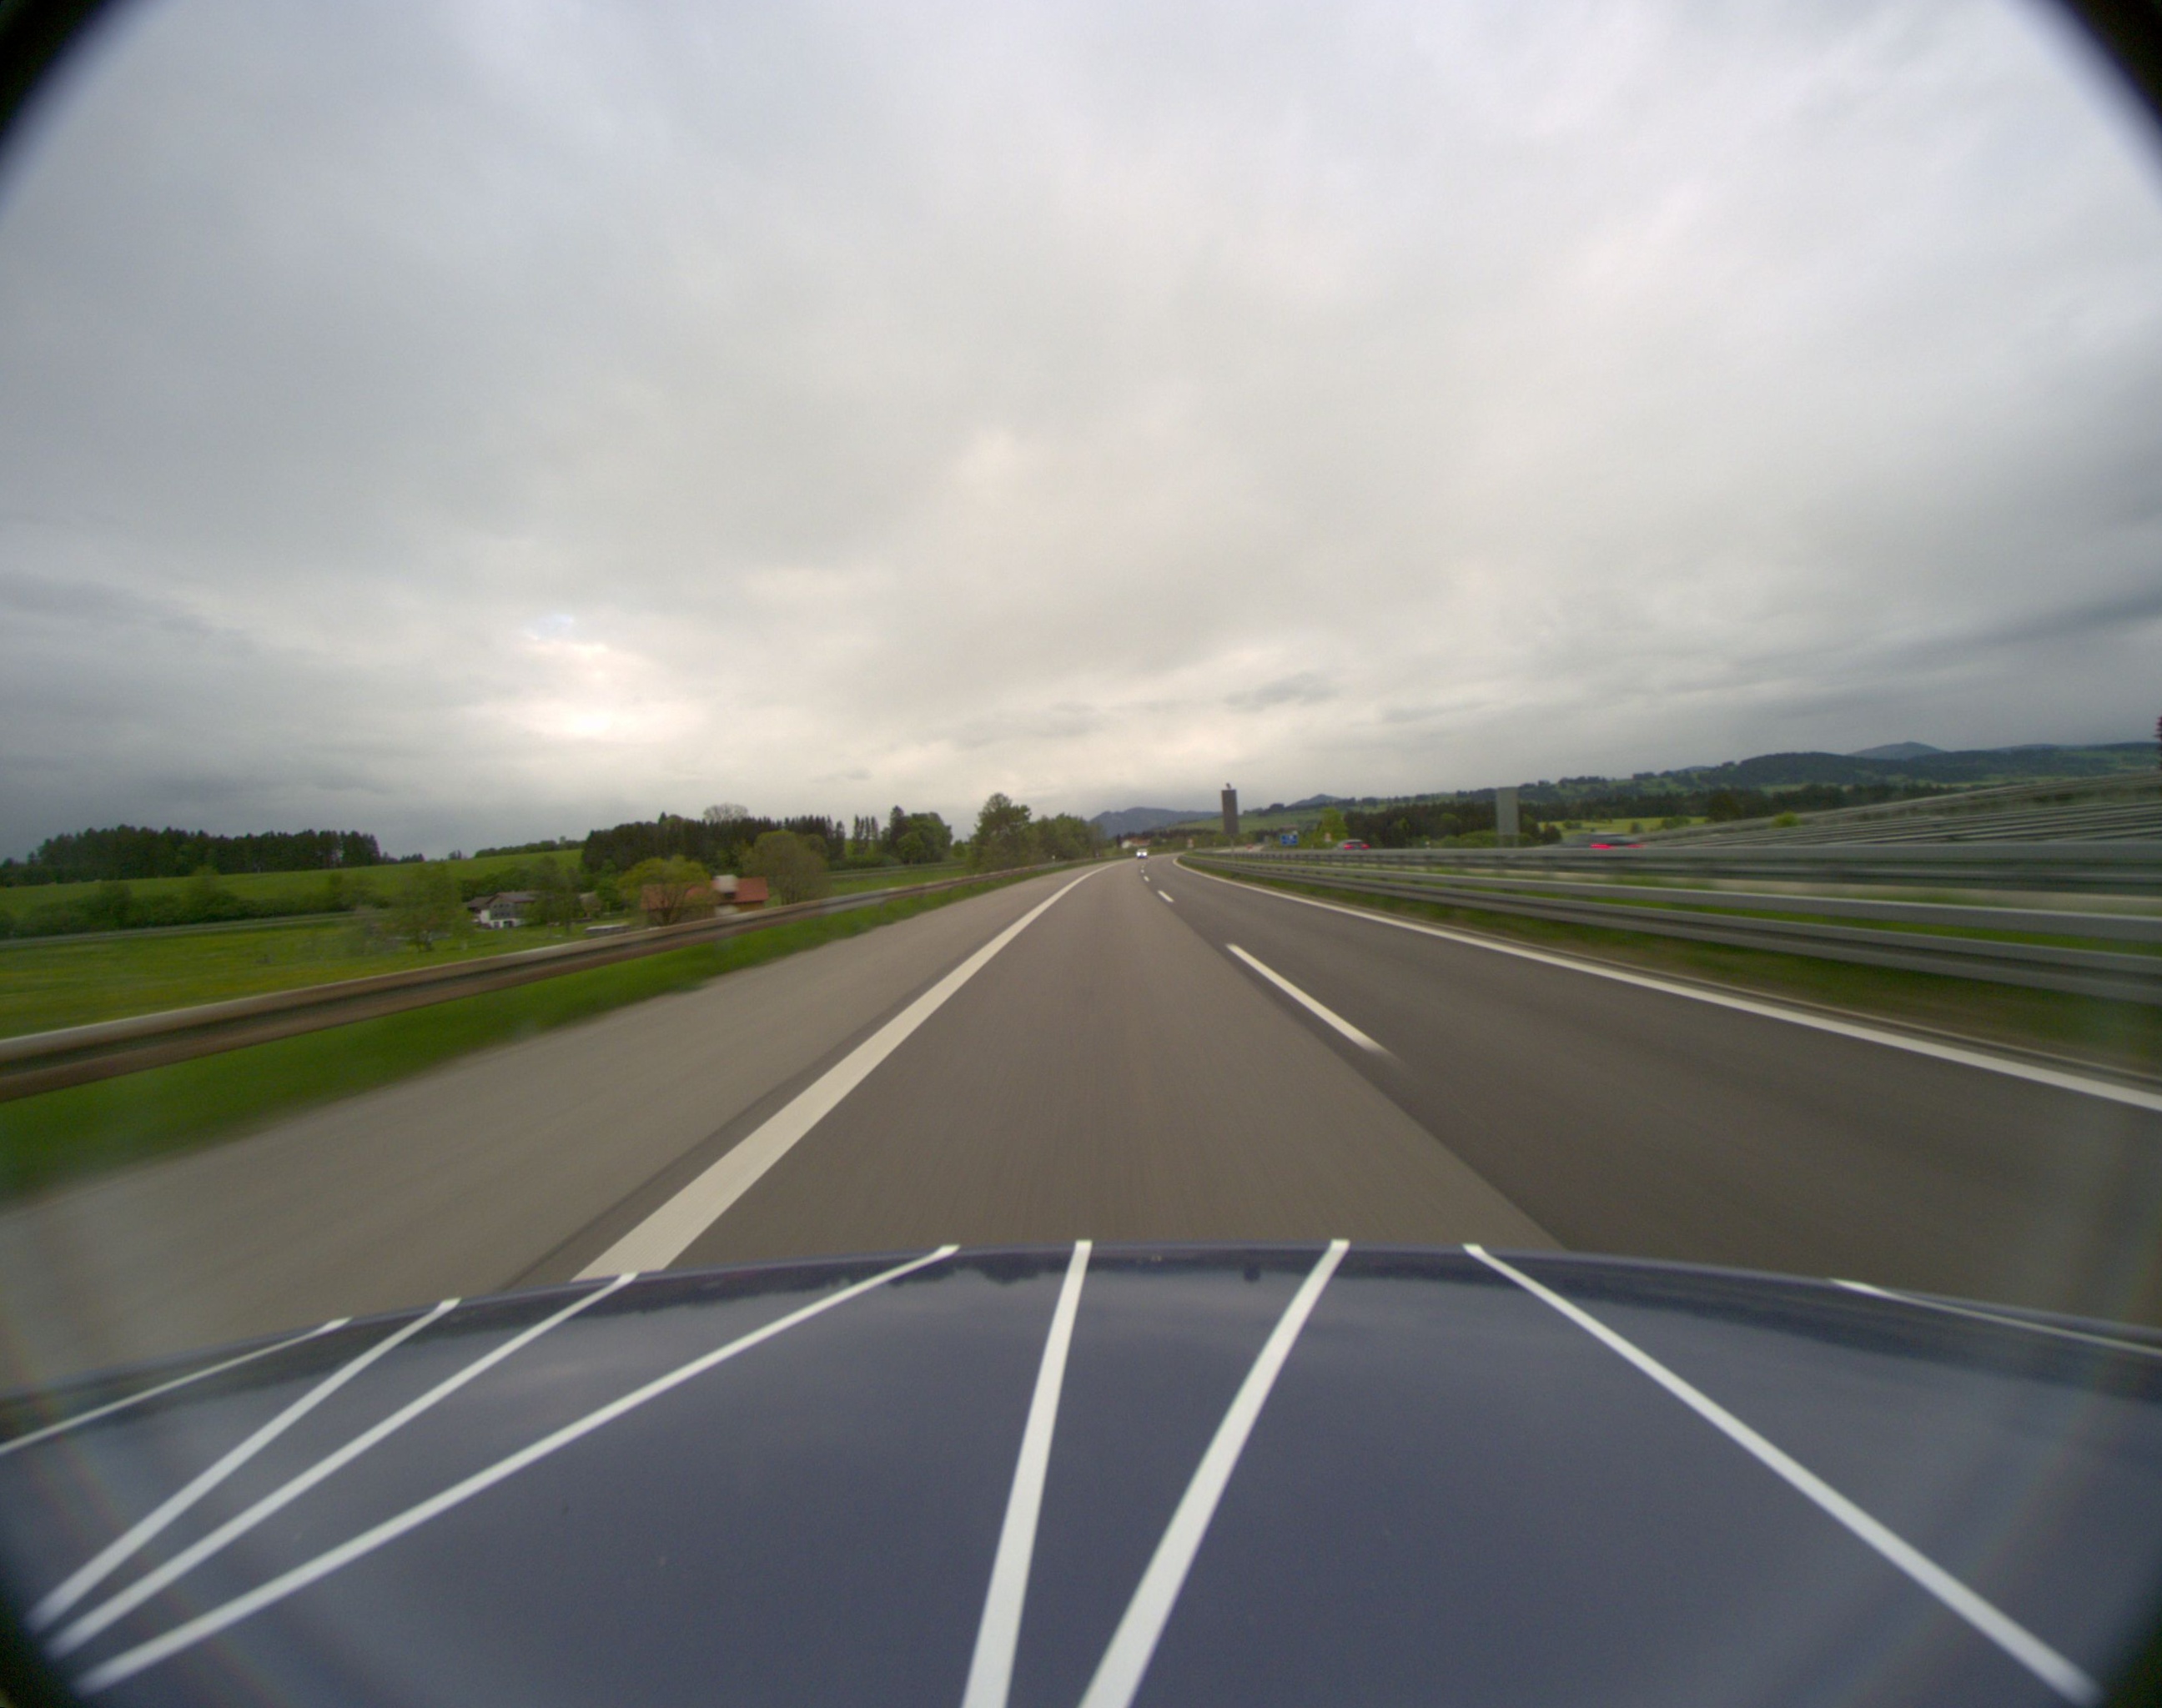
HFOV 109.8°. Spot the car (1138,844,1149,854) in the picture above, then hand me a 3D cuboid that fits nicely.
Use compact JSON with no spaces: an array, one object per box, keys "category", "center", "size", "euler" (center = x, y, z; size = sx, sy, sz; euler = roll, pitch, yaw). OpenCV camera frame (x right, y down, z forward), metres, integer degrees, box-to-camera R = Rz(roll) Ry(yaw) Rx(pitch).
[{"category":"car","center":[12.092,-0.969,147.481],"size":[2.020,1.899,4.222],"euler":[-2,0,6]}]

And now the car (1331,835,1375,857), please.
[{"category":"car","center":[20.395,-0.607,57.156],"size":[1.998,1.409,4.001],"euler":[-5,0,4]}]

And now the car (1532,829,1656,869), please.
[{"category":"car","center":[22.010,-0.200,32.897],"size":[1.998,1.431,5.000],"euler":[-5,0,2]}]
